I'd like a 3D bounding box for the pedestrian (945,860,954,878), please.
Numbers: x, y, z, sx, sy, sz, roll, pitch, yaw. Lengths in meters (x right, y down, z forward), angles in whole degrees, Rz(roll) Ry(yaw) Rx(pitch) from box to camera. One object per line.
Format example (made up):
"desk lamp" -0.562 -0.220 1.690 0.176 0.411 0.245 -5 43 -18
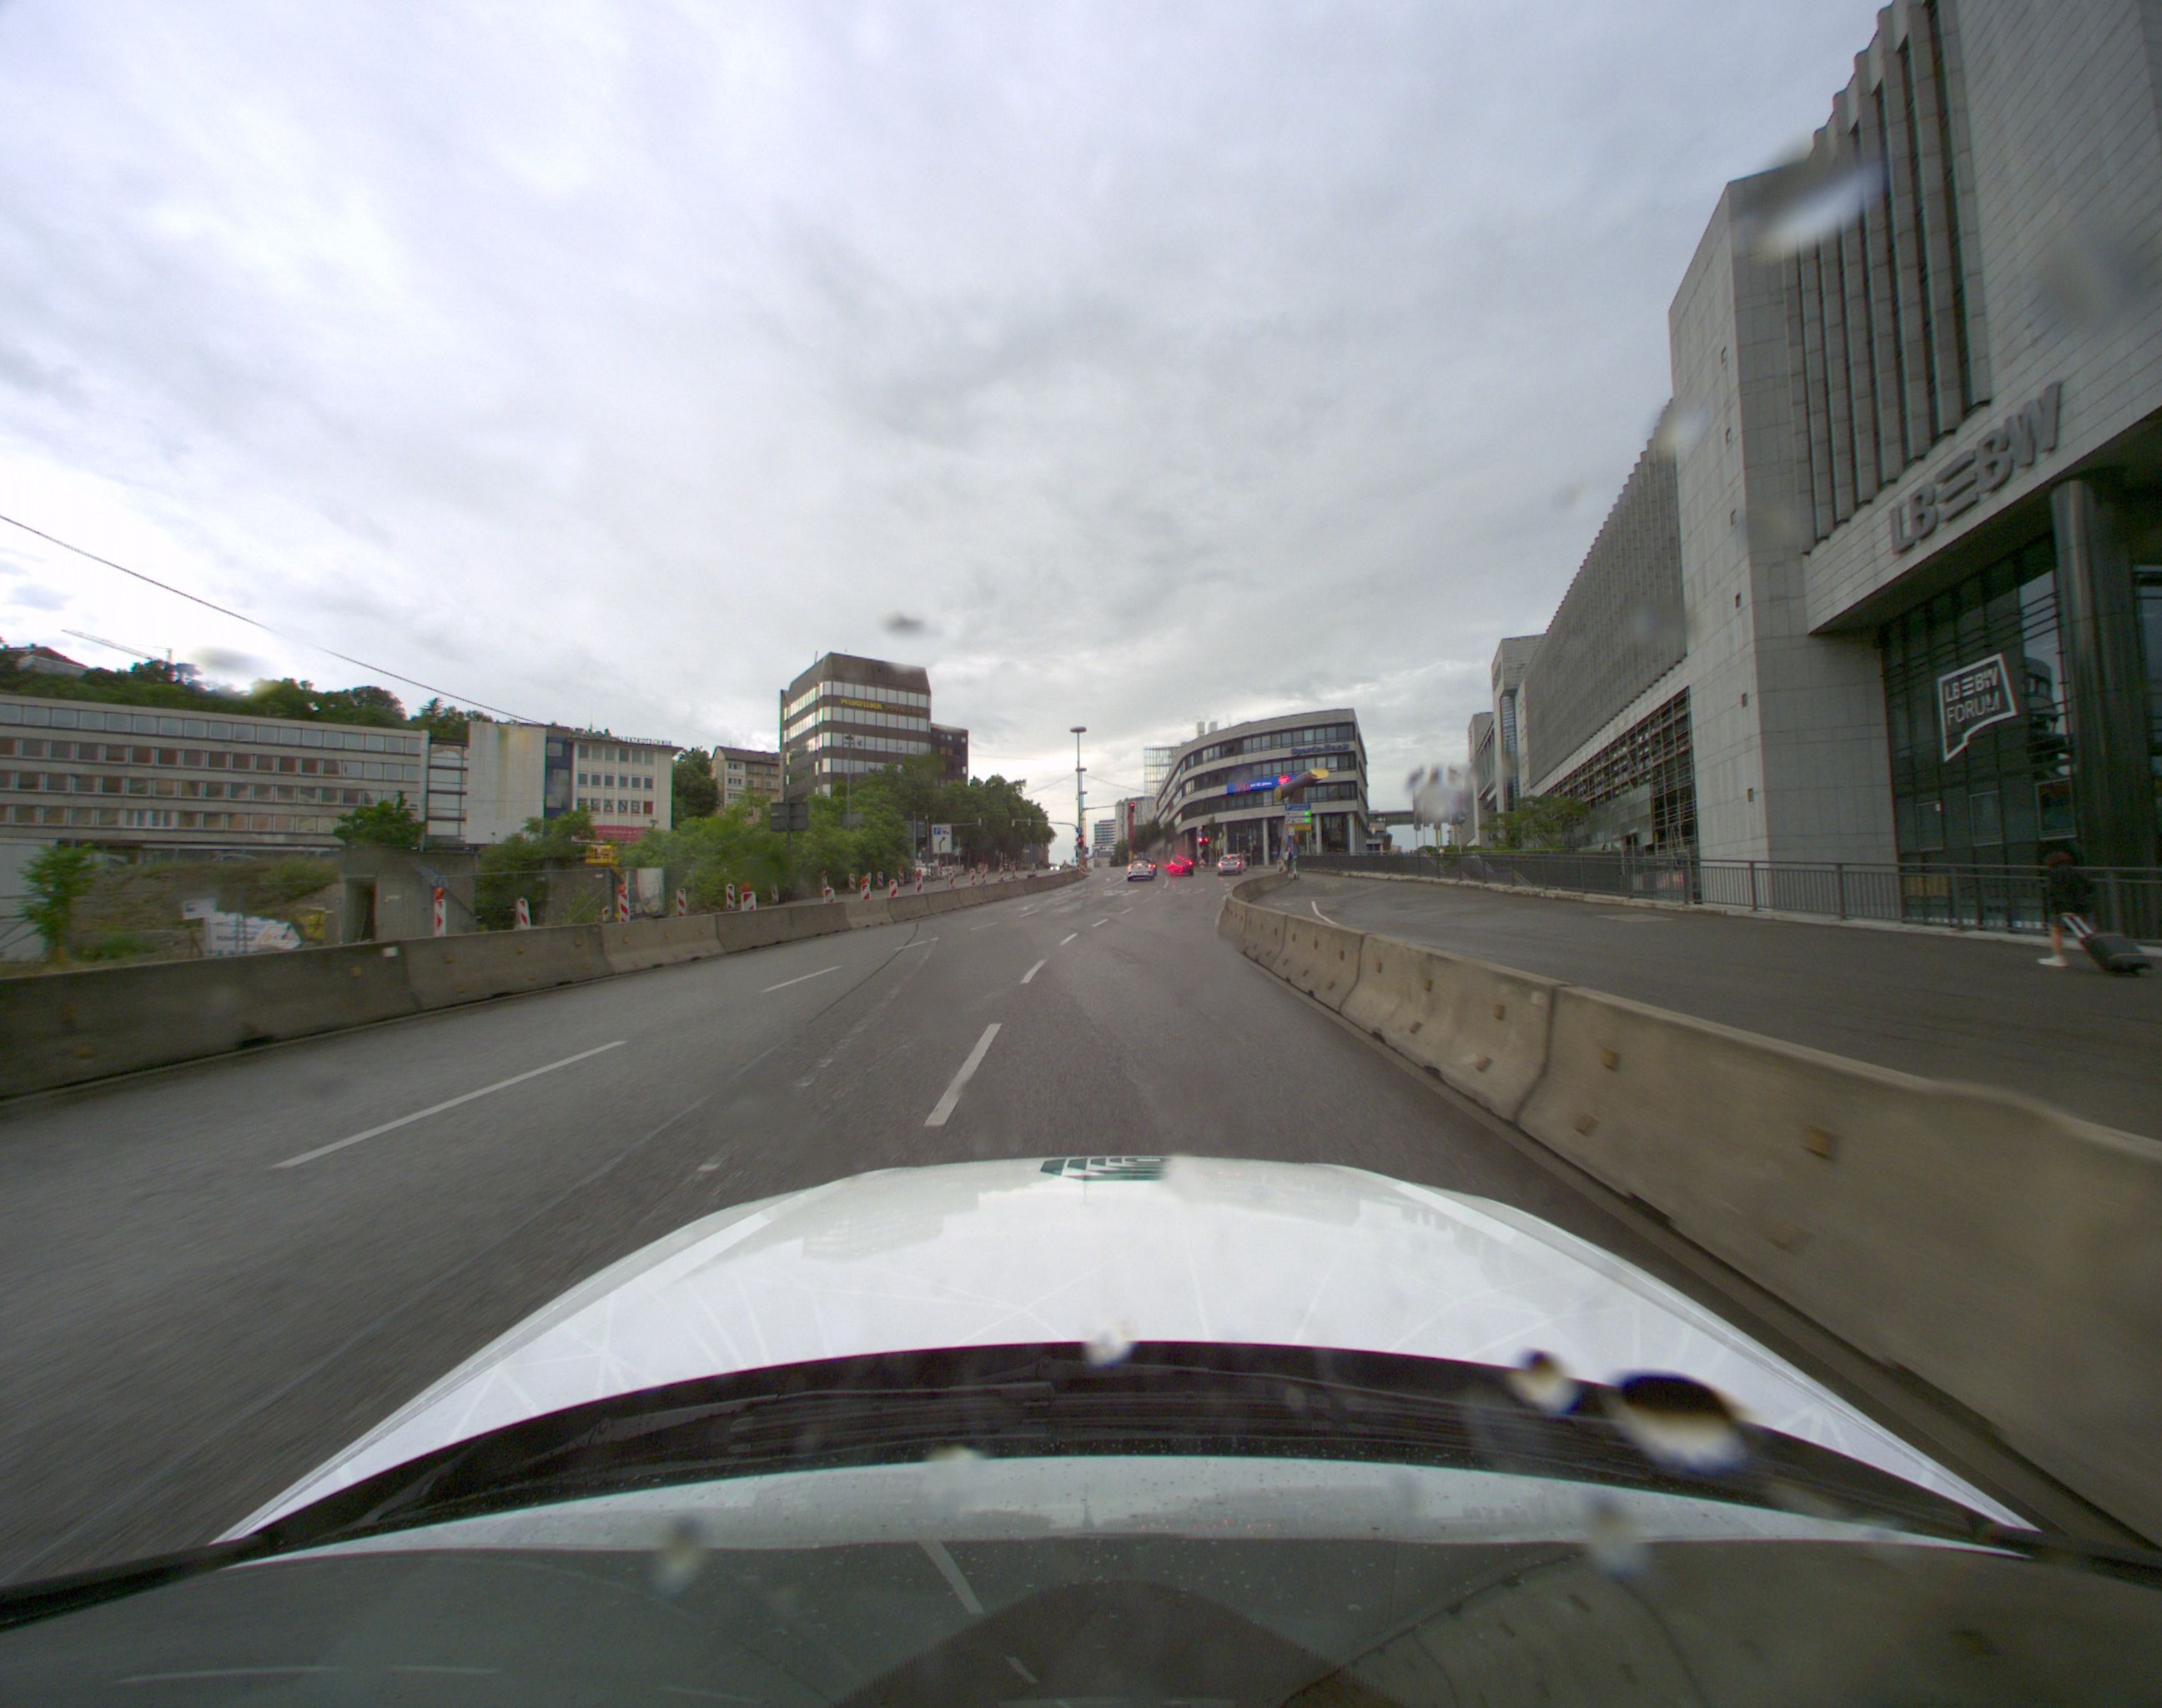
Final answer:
"pedestrian" -13.867 1.581 86.145 0.757 1.923 0.743 -1 -3 4

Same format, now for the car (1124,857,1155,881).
"car" 4.154 1.028 57.419 1.954 1.549 4.226 -1 0 6

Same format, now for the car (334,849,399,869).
"car" -61.838 0.458 70.594 4.017 1.706 1.978 1 -3 -36

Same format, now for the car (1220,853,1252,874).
"car" 13.093 0.796 68.552 1.756 1.634 4.605 -2 0 22

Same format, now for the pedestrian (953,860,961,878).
"pedestrian" -13.127 1.574 86.079 0.669 1.902 0.776 -1 -3 4

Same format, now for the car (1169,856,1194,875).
"car" 7.833 0.941 63.871 1.746 1.407 4.232 0 -1 5

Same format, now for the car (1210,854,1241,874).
"car" 10.905 0.757 61.603 1.694 1.451 4.618 -1 -1 3

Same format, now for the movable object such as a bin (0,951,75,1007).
"movable object such as a bin" -36.012 4.114 26.062 1.720 1.677 4.460 -2 -3 11

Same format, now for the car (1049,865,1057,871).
"car" -6.800 3.477 199.708 1.755 1.460 4.360 -2 0 1

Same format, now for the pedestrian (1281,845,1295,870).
"pedestrian" 14.622 0.278 57.442 0.727 1.711 0.843 -1 -3 1

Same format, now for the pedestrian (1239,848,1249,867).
"pedestrian" 16.913 0.399 84.568 0.832 1.905 0.736 -2 -2 27

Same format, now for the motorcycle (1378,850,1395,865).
"motorcycle" 26.783 0.275 71.478 1.239 1.270 0.619 -2 0 -6

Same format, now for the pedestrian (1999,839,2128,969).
"pedestrian" 13.218 0.653 11.000 0.722 1.652 1.067 -2 -2 29

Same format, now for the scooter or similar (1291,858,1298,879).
"scooter or similar" 11.986 0.841 45.656 0.346 1.162 0.575 -2 -2 16

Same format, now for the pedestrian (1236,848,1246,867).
"pedestrian" 16.464 0.395 83.789 0.832 1.905 0.866 -2 -3 27

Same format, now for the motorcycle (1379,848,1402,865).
"motorcycle" 26.918 0.208 70.754 1.722 1.354 0.605 -2 0 -6

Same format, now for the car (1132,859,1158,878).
"car" 5.183 1.146 66.149 1.735 1.443 3.998 -1 -1 -1

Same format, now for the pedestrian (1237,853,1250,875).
"pedestrian" 15.962 0.964 80.086 0.855 2.099 0.898 1 -1 -22
